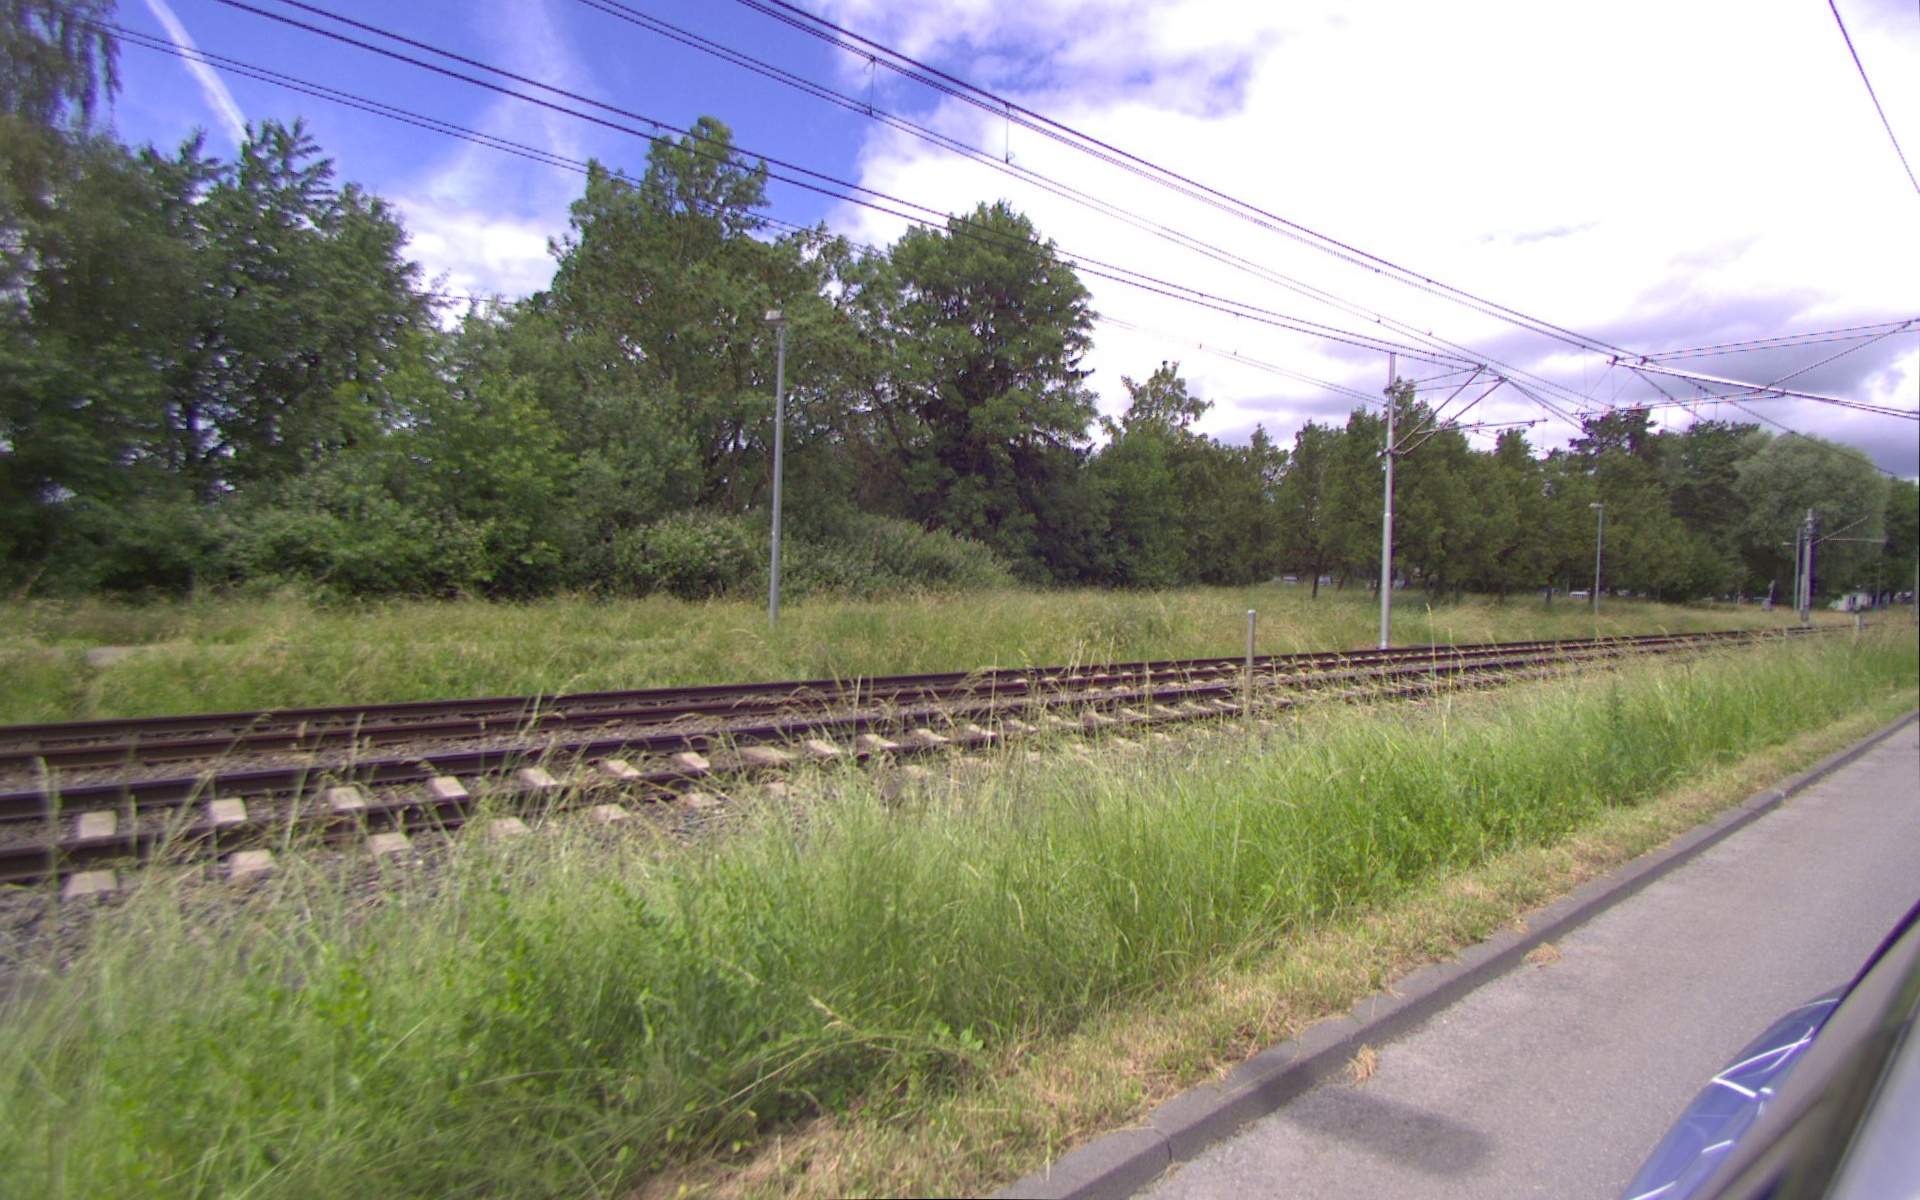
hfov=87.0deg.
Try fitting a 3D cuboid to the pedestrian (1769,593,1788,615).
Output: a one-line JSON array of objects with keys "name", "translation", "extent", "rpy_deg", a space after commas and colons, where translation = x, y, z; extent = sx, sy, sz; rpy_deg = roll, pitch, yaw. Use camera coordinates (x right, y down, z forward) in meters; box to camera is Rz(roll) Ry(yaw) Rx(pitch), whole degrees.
[{"name": "pedestrian", "translation": [65.621, 0.336, 81.163], "extent": [0.940, 1.687, 0.658], "rpy_deg": [1, 1, 1]}]

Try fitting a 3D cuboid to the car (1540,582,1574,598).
[{"name": "car", "translation": [65.620, -1.136, 111.258], "extent": [3.927, 1.721, 1.998], "rpy_deg": [0, 1, -39]}]

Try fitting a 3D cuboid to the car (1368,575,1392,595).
[{"name": "car", "translation": [40.208, -1.395, 96.853], "extent": [1.979, 1.834, 3.968], "rpy_deg": [2, 1, 24]}]

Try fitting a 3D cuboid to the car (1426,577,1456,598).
[{"name": "car", "translation": [44.369, -1.136, 93.253], "extent": [1.739, 1.826, 3.947], "rpy_deg": [2, 1, 37]}]

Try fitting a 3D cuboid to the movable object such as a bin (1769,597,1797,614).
[{"name": "movable object such as a bin", "translation": [66.010, 0.460, 81.155], "extent": [1.612, 1.326, 0.660], "rpy_deg": [1, 1, 1]}]

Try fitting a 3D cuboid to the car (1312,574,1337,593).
[{"name": "car", "translation": [35.707, -1.610, 99.153], "extent": [1.979, 1.834, 3.968], "rpy_deg": [2, 1, 24]}]
